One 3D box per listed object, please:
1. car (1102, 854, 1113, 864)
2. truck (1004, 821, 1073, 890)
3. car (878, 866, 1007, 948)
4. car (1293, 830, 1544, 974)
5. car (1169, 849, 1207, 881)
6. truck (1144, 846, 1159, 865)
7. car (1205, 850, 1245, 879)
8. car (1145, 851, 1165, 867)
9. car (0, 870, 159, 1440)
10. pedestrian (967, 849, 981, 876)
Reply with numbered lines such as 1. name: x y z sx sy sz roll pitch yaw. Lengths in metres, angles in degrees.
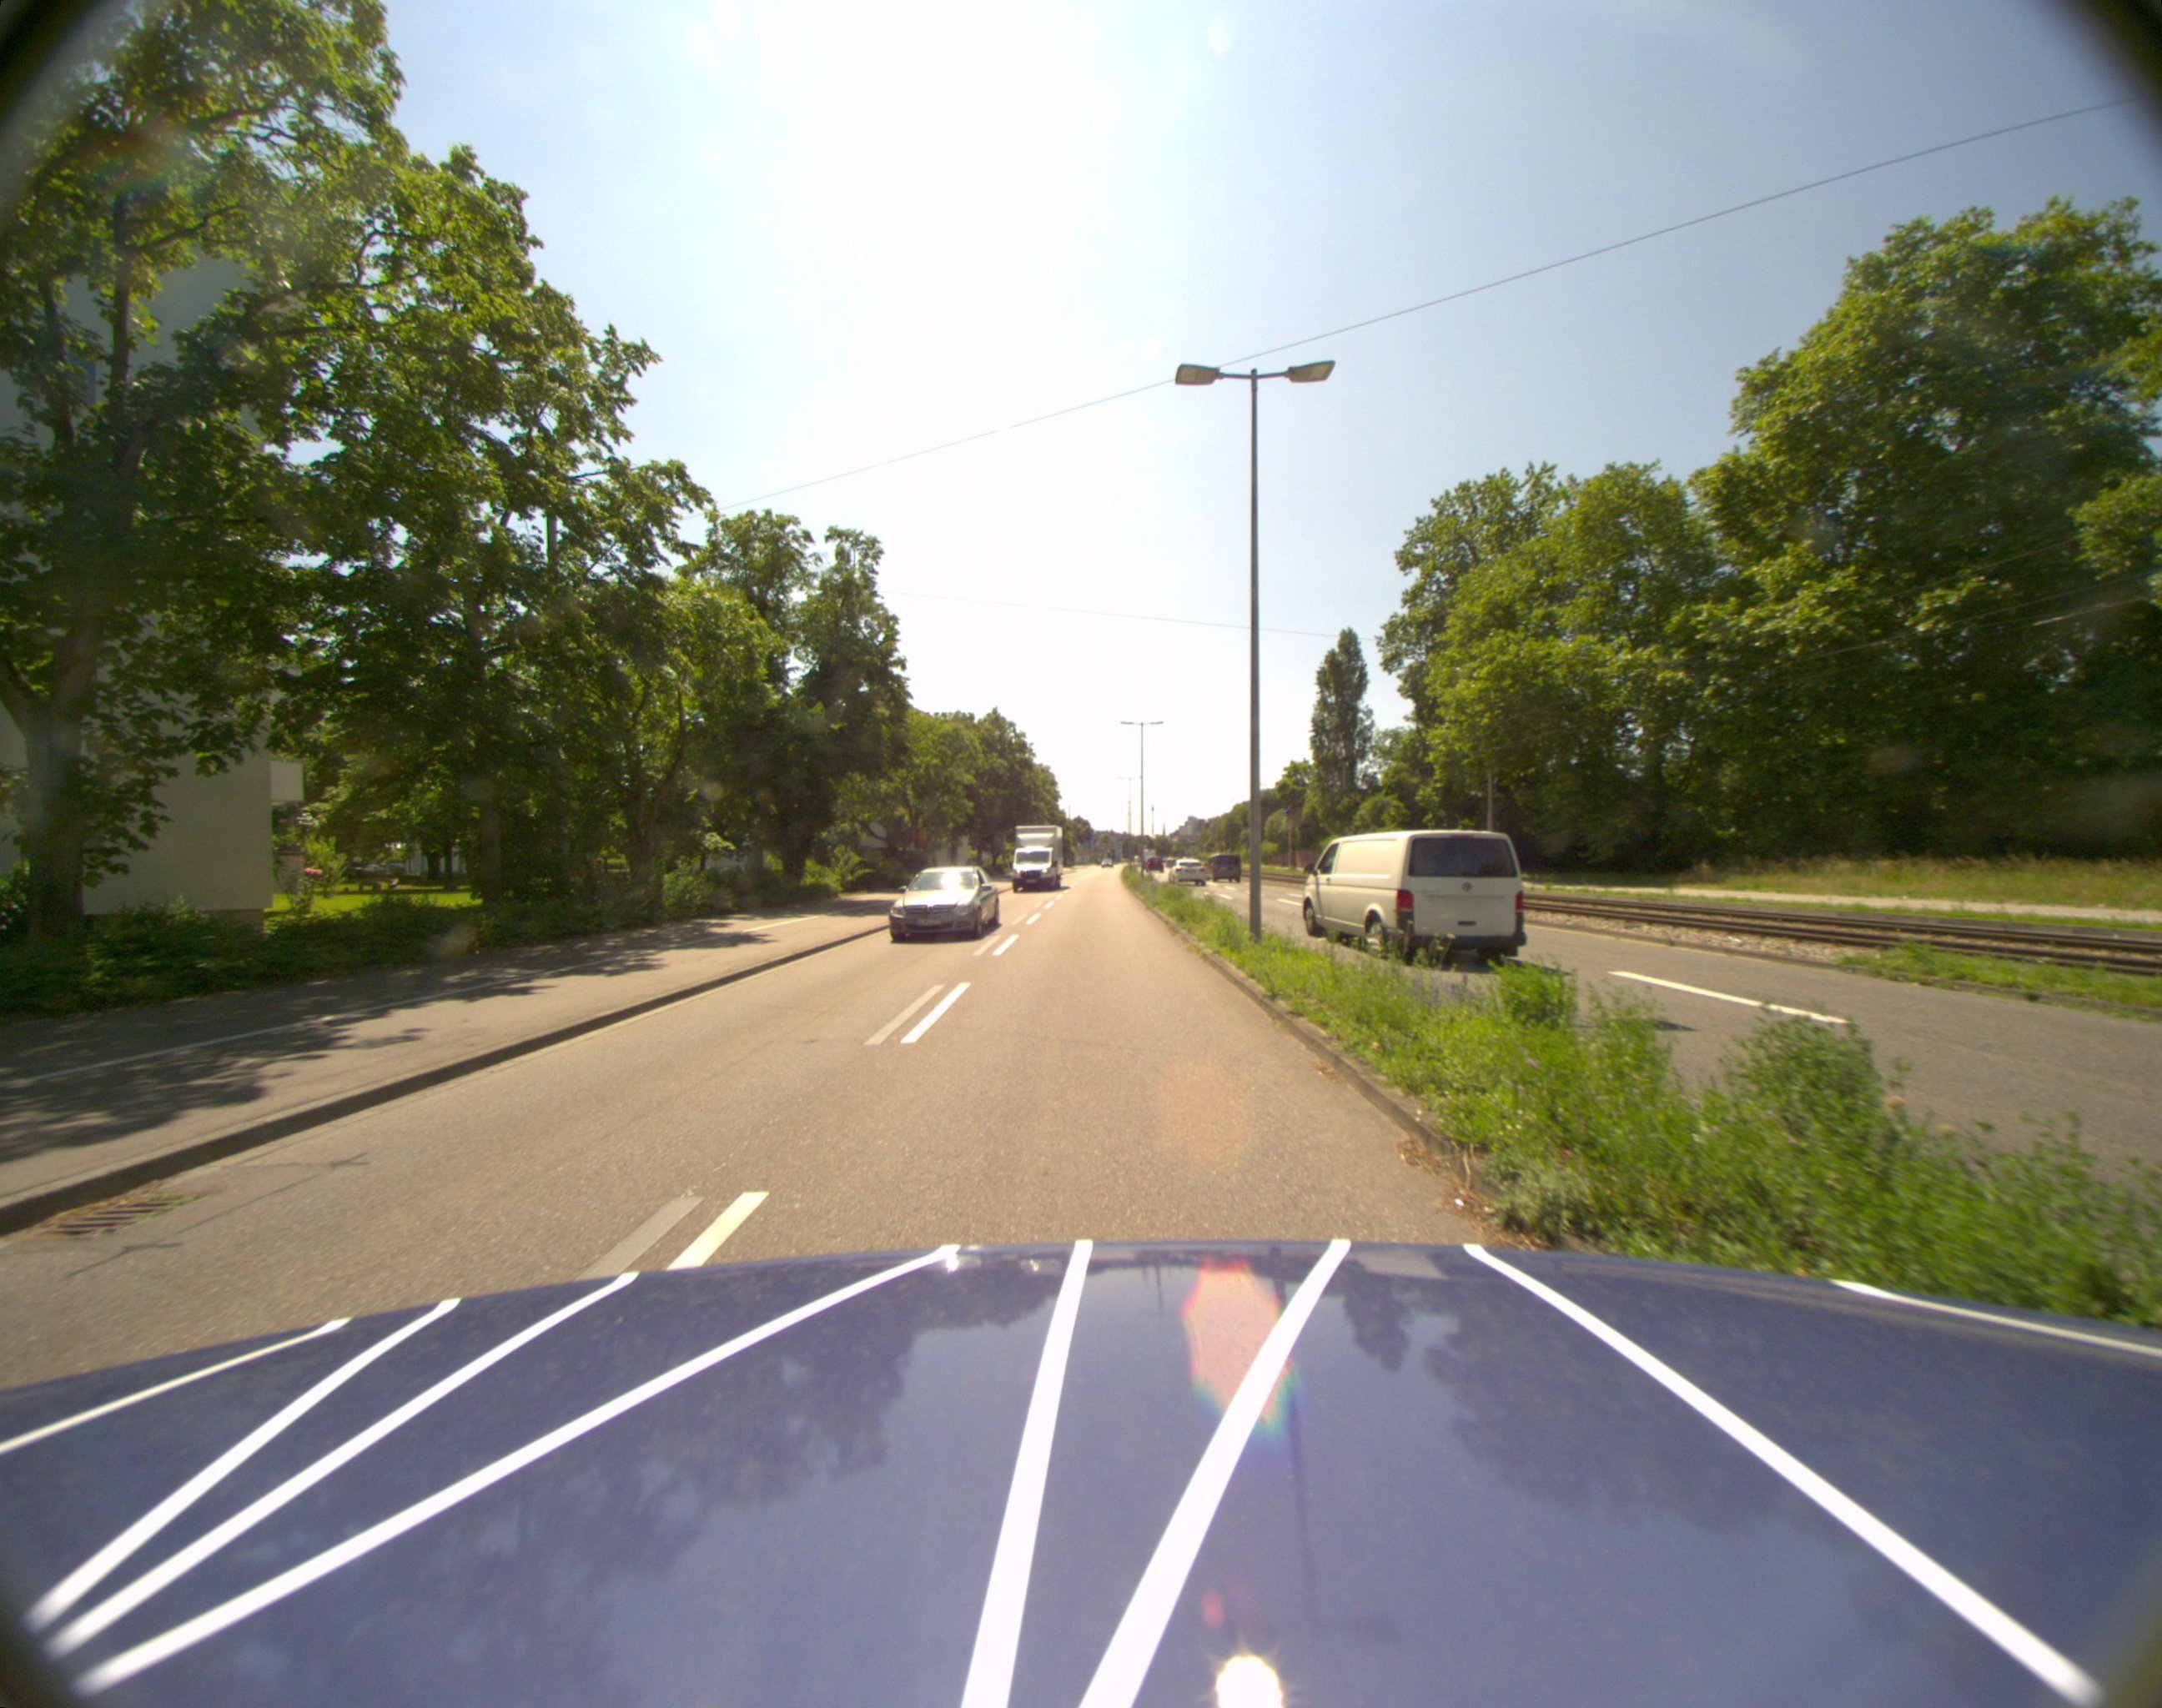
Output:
1. car: 4.548 0.823 130.857 1.829 1.556 4.000 -1 0 0
2. truck: -2.088 0.040 40.595 2.293 3.259 8.315 -1 1 6
3. car: -2.824 1.041 16.438 1.903 1.451 3.971 -2 0 2
4. car: 5.276 0.625 12.920 1.834 1.895 5.566 1 0 1
5. car: 6.033 0.573 43.248 1.834 1.728 4.038 1 0 4
6. truck: 10.819 0.222 116.535 2.086 2.732 5.548 1 0 3
7. car: 9.385 0.619 49.904 1.834 1.791 4.614 1 0 2
8. car: 7.921 0.504 81.855 1.833 1.703 4.793 1 0 1
9. car: -3.607 0.804 0.322 1.663 1.441 3.854 -2 0 0
10. pedestrian: -6.422 0.495 45.592 0.670 1.634 0.856 -1 1 2
